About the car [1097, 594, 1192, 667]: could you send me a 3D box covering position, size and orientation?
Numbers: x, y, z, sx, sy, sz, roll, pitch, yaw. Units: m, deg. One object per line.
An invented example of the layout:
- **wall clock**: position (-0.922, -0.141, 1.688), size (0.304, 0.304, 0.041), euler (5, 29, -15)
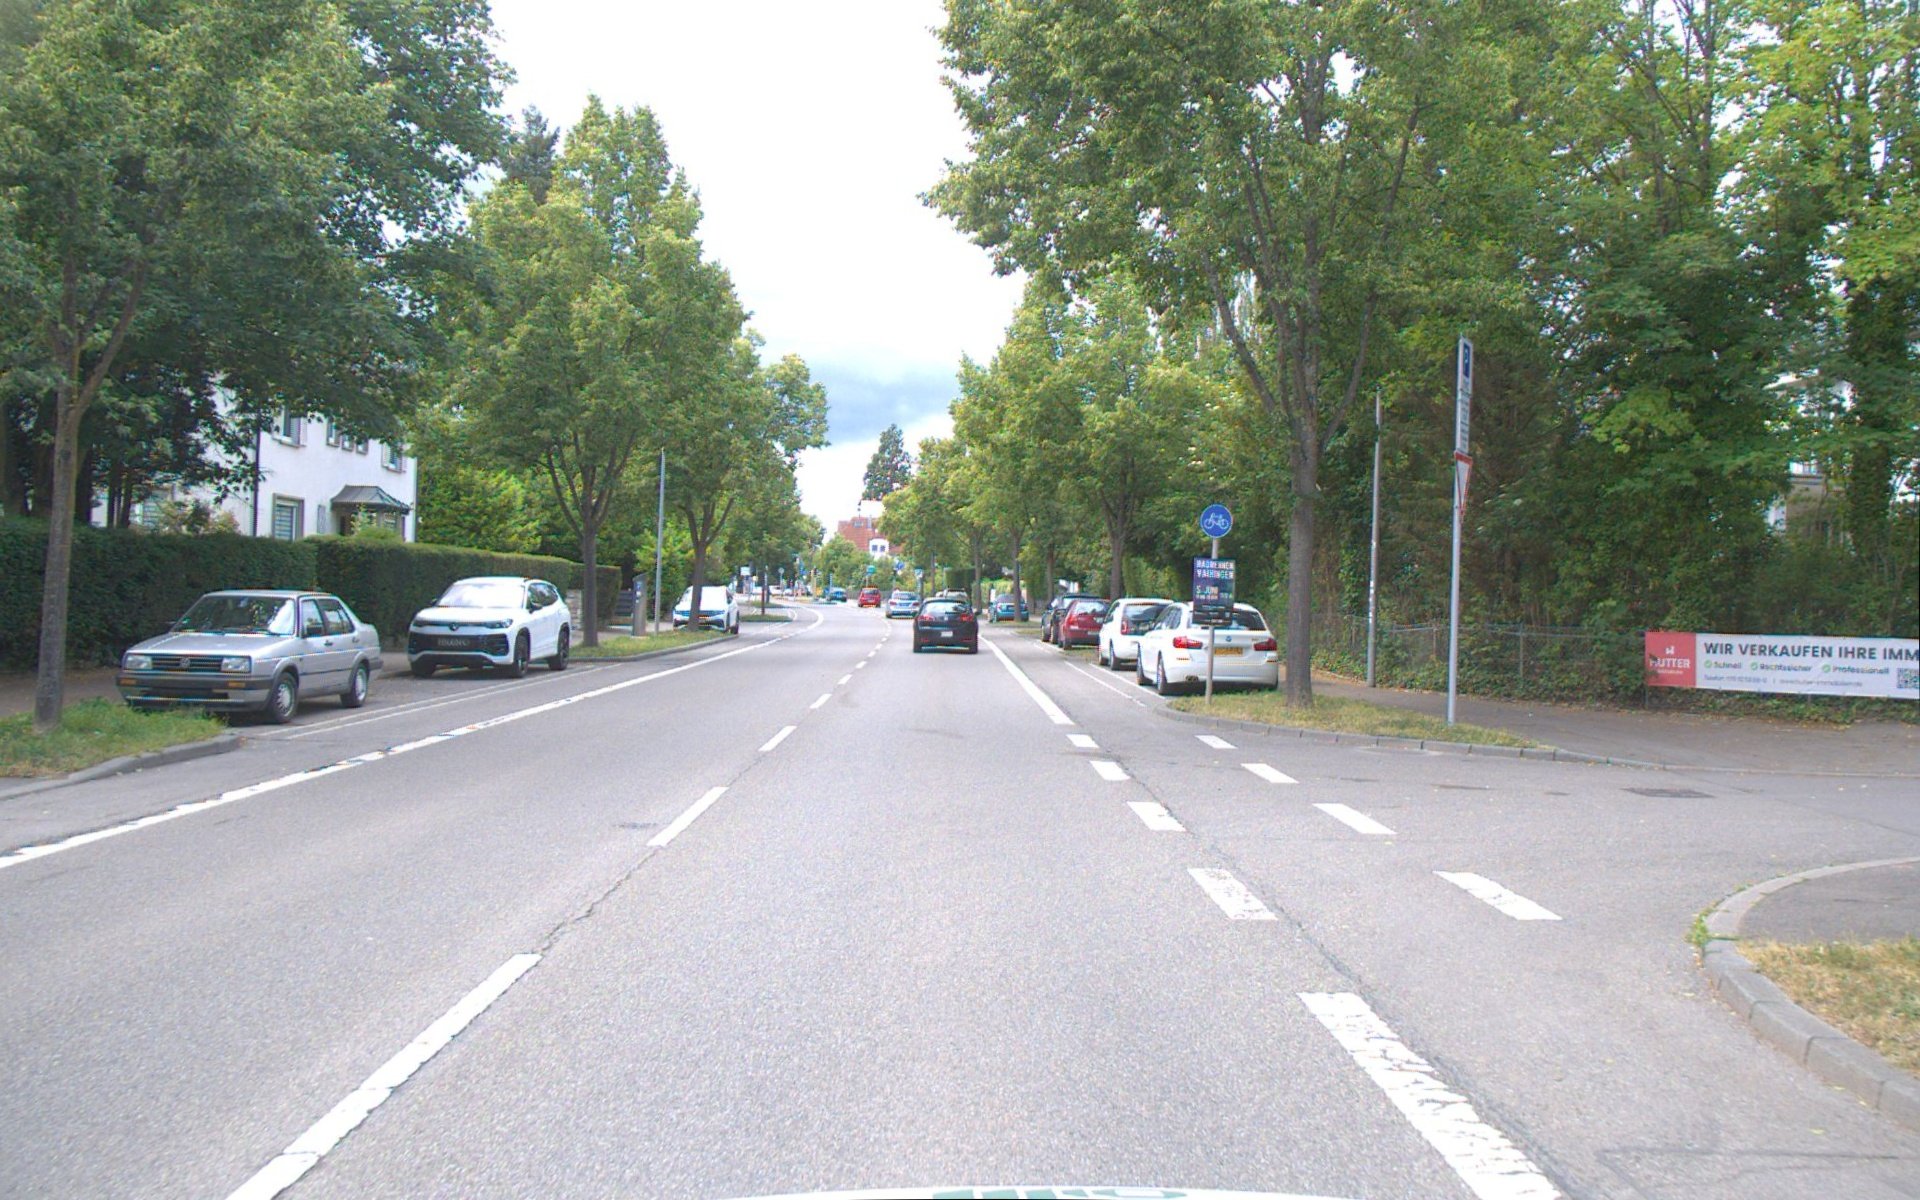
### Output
- **car**: position (3.946, 0.623, 35.826), size (1.583, 1.485, 3.656), euler (0, 0, -1)

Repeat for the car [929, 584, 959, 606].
- **car**: position (-1.142, -0.327, 116.031), size (1.654, 1.474, 3.574), euler (1, 0, -7)

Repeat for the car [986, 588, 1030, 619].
- **car**: position (2.372, 0.163, 82.703), size (1.650, 1.457, 4.039), euler (1, 0, -6)

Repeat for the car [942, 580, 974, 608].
- **car**: position (-0.161, -0.375, 110.171), size (1.754, 1.802, 3.977), euler (1, 0, -6)

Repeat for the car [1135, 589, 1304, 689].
- **car**: position (4.175, 0.576, 27.423), size (1.979, 1.468, 5.024), euler (1, 0, 0)

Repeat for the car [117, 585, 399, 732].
- **car**: position (-8.018, 0.592, 19.352), size (1.524, 1.496, 4.450), euler (1, 0, -2)

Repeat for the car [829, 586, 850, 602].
- **car**: position (-11.883, -0.569, 162.823), size (1.955, 1.534, 3.995), euler (2, 0, -6)

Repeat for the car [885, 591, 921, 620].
- **car**: position (-3.208, 0.283, 92.707), size (1.953, 1.585, 3.998), euler (0, 0, -3)

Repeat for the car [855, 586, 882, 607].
- **car**: position (-7.116, -0.297, 128.514), size (1.954, 1.557, 3.996), euler (1, 0, -5)

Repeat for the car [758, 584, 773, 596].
- **car**: position (-29.906, -1.560, 254.355), size (1.934, 1.705, 3.874), euler (1, 0, -4)

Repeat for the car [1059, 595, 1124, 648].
- **car**: position (3.759, 0.594, 47.719), size (1.604, 1.445, 4.000), euler (0, 0, 1)

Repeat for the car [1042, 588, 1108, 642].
- **car**: position (3.651, 0.462, 53.195), size (1.605, 1.644, 4.167), euler (1, 0, -3)

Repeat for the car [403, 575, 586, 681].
- **car**: position (-8.078, 0.441, 29.167), size (1.779, 1.681, 4.699), euler (1, 0, 1)

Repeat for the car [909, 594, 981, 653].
- **car**: position (-0.426, 0.585, 43.757), size (1.747, 1.474, 3.556), euler (1, 0, -3)

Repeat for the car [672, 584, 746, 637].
- **car**: position (-8.520, 0.324, 56.461), size (1.835, 1.718, 4.865), euler (0, 0, -1)
